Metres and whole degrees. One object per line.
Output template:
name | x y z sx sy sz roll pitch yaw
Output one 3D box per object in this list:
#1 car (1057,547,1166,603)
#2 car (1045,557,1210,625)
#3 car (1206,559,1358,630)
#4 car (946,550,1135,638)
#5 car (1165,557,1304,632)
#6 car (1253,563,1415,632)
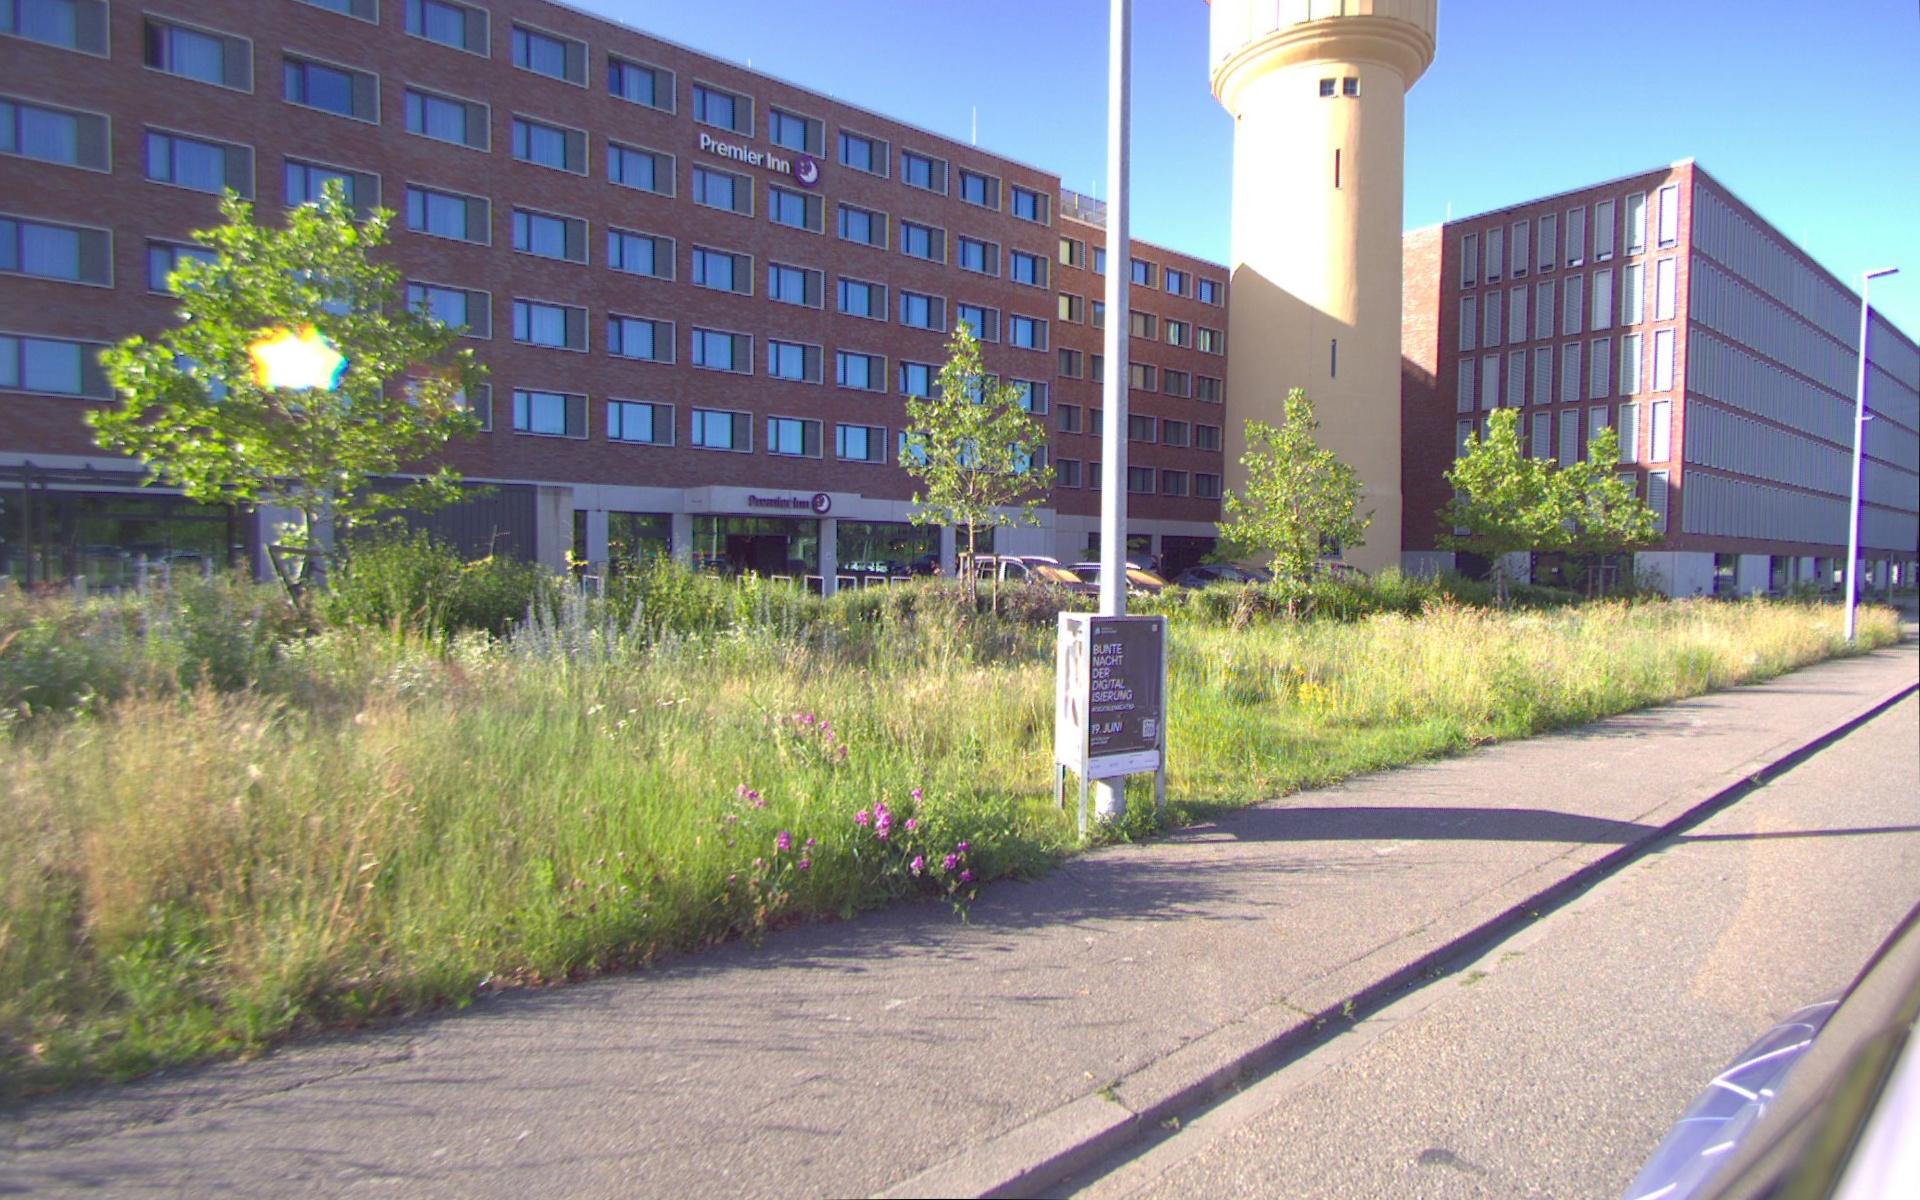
car | 6.576 -1.053 43.613 4.850 2.292 1.867 -1 1 -40
car | 4.157 -0.269 25.597 1.800 1.569 3.999 0 2 -36
car | 9.649 -0.215 30.546 1.963 2.005 3.999 0 2 -36
car | 1.774 -0.189 23.612 1.964 1.851 4.329 0 2 -39
car | 7.916 -0.200 29.371 1.803 2.046 3.481 0 2 -39
car | 11.943 -0.134 32.563 1.964 2.039 4.529 0 2 -38
